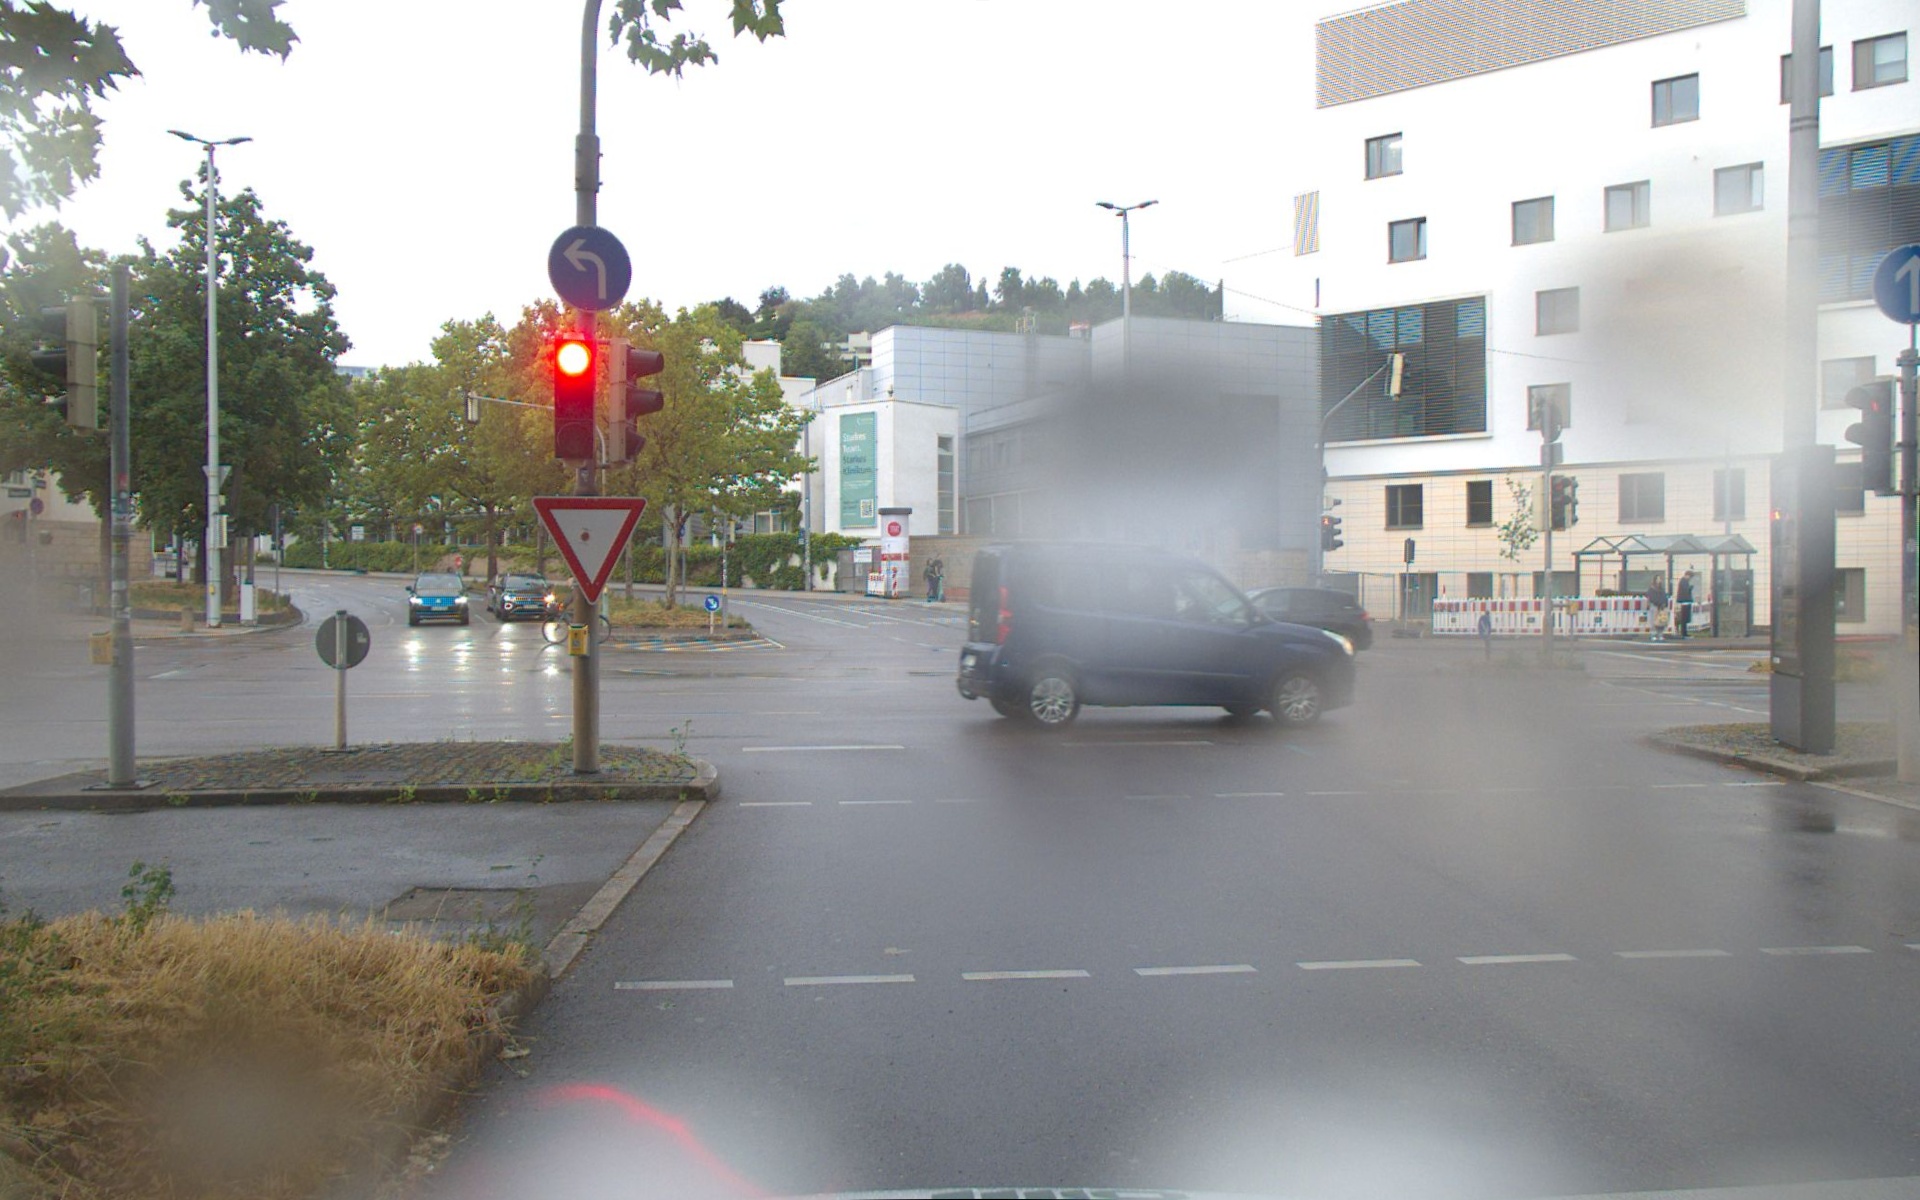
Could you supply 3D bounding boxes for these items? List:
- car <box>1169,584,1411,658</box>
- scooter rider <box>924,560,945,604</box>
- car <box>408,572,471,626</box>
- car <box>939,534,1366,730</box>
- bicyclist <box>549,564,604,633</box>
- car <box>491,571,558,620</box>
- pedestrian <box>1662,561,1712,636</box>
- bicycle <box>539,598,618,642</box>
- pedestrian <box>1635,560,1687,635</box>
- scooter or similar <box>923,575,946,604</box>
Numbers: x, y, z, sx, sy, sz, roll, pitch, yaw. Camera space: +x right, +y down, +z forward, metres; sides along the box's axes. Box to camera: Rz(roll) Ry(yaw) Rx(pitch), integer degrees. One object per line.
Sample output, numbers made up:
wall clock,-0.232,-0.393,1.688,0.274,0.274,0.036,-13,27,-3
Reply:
car,6.466,0.396,32.690,4.291,1.402,1.997,0,1,-8
scooter rider,-1.095,-0.788,72.164,0.713,1.916,0.628,2,-1,-21
car,-16.818,-0.062,53.482,1.839,1.591,4.255,-1,2,-18
car,2.019,0.295,17.799,4.221,1.941,1.792,0,1,-13
bicyclist,-9.439,-0.022,40.736,1.114,1.661,0.694,2,-1,-32
car,-15.185,-0.182,57.505,1.764,1.612,3.973,0,1,-22
pedestrian,19.618,-0.037,44.639,0.980,1.969,0.955,1,-1,9
bicycle,-9.395,0.489,40.765,1.797,1.075,0.641,1,0,-32
pedestrian,18.064,-0.061,42.637,0.934,1.872,0.821,2,-1,-12
scooter or similar,-1.112,-0.442,72.143,0.582,1.260,1.305,2,-1,-22
